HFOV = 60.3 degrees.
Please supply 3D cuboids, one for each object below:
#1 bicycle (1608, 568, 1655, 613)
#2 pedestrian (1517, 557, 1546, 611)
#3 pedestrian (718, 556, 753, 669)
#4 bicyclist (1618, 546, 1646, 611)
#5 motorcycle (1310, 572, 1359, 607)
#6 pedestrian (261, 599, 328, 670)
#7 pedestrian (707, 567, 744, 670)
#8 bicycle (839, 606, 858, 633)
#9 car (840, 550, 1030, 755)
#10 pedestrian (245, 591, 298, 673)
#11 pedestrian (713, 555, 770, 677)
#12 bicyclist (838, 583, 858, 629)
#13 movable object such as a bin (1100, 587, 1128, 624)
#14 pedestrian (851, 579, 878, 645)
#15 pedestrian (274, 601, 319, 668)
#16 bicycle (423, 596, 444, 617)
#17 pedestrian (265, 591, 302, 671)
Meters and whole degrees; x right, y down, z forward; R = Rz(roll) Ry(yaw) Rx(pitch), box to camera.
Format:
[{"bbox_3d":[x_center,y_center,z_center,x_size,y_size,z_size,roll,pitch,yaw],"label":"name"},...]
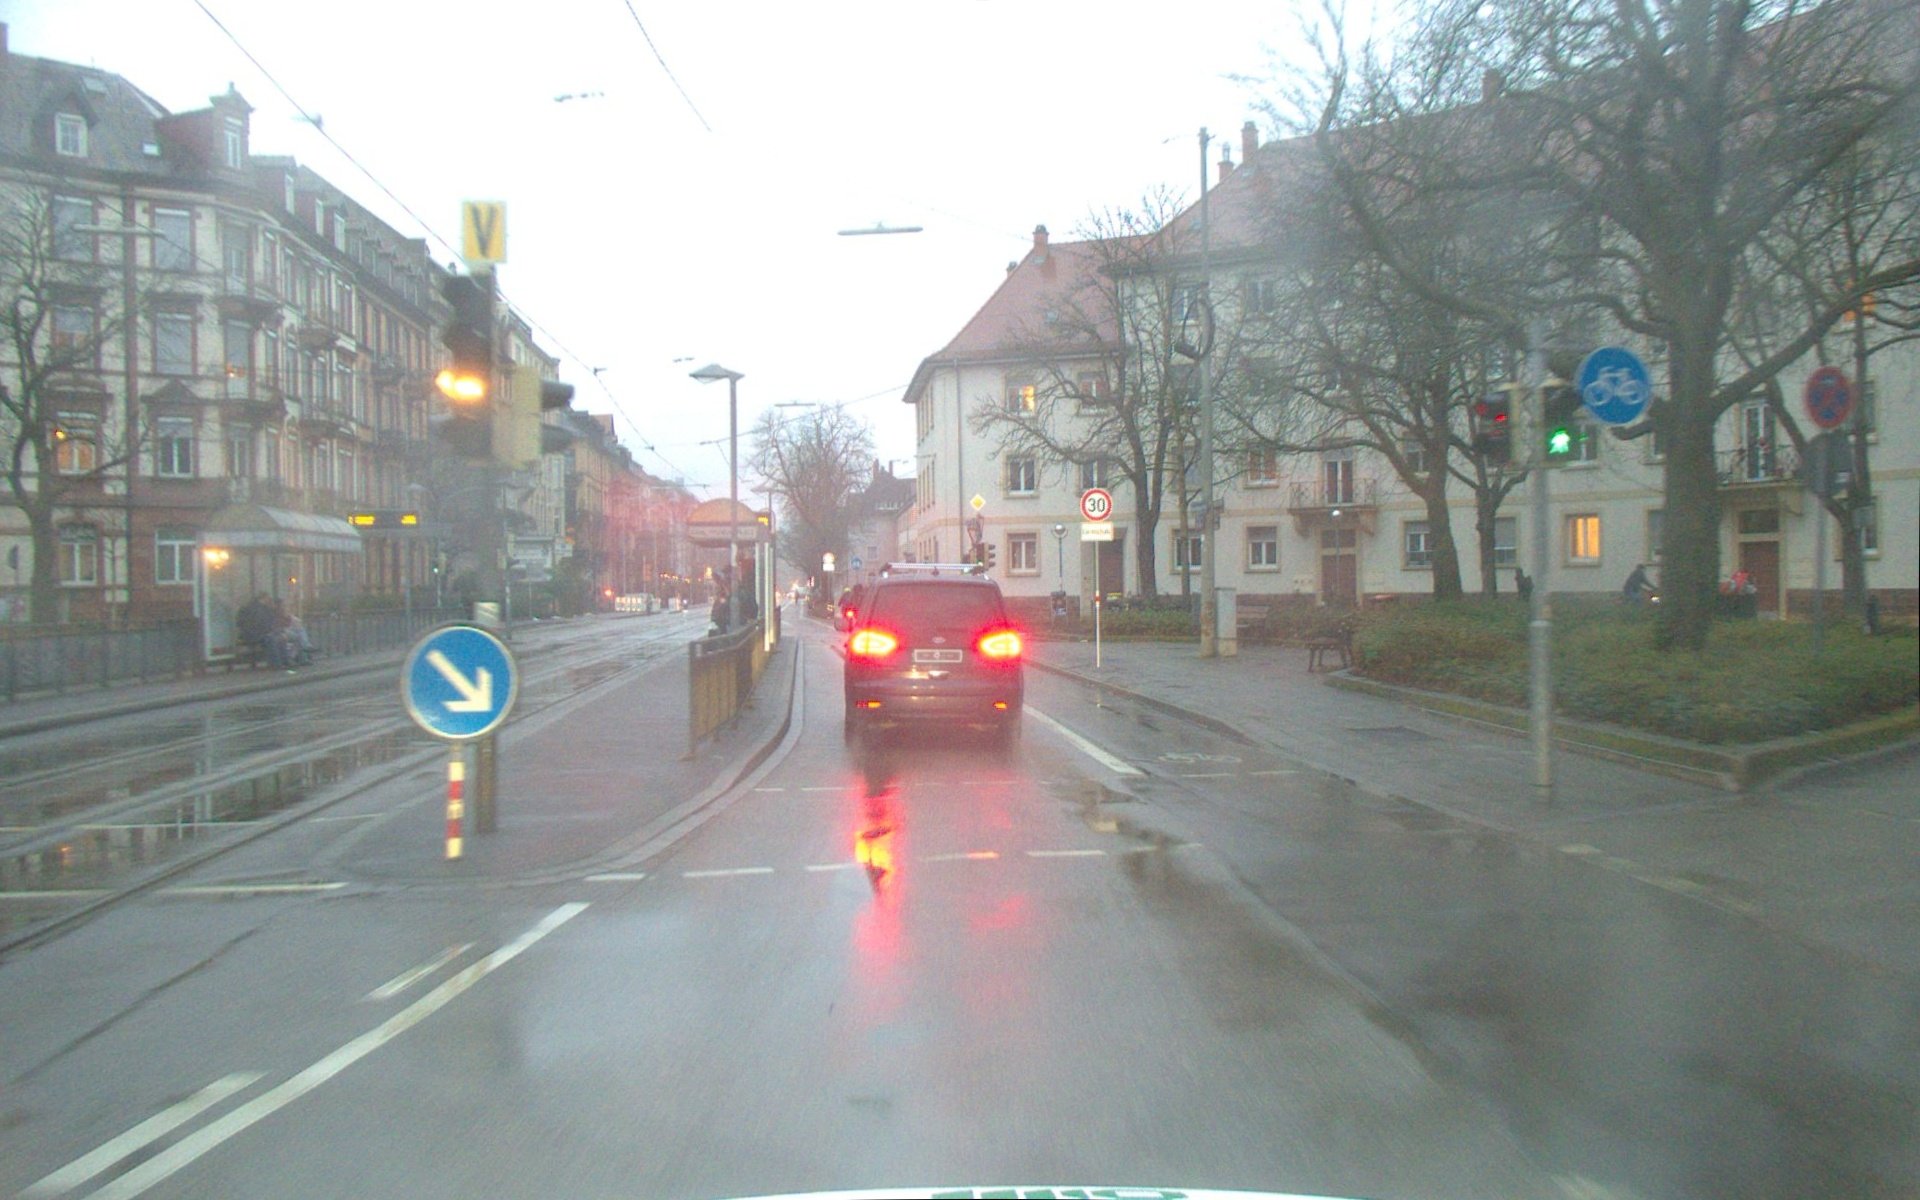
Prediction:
[{"bbox_3d":[19.937,-0.277,49.120,0.457,1.314,1.912,-1,0,-5],"label":"bicycle"},{"bbox_3d":[18.255,-0.504,52.801,0.700,1.689,0.686,-1,1,33],"label":"pedestrian"},{"bbox_3d":[-4.092,0.223,30.196,0.546,2.022,0.570,2,0,-5],"label":"pedestrian"},{"bbox_3d":[19.946,-0.636,49.097,0.457,1.919,0.679,-1,0,-5],"label":"bicyclist"},{"bbox_3d":[12.754,-0.354,56.305,0.565,1.124,1.579,-4,3,-41],"label":"motorcycle"},{"bbox_3d":[-12.506,0.642,31.097,1.035,1.276,0.506,2,0,-6],"label":"pedestrian"},{"bbox_3d":[-4.116,0.317,29.045,0.546,1.771,0.570,2,0,-5],"label":"pedestrian"},{"bbox_3d":[-4.301,0.751,63.655,0.717,1.024,1.762,0,0,-4],"label":"bicycle"},{"bbox_3d":[-0.368,0.502,17.847,1.766,1.903,4.015,2,0,-4],"label":"car"},{"bbox_3d":[-12.271,0.563,29.490,0.671,1.428,0.577,2,0,-6],"label":"pedestrian"},{"bbox_3d":[-3.645,0.258,27.646,0.837,1.990,0.570,2,0,-5],"label":"pedestrian"},{"bbox_3d":[-4.315,0.235,63.687,0.716,1.767,0.765,0,0,-5],"label":"bicyclist"},{"bbox_3d":[5.482,0.207,58.883,0.838,1.273,0.520,2,0,37],"label":"movable object such as a bin"},{"bbox_3d":[-2.886,0.353,50.038,0.702,1.951,0.687,2,0,-9],"label":"pedestrian"},{"bbox_3d":[-12.684,0.656,31.617,0.640,1.239,0.516,2,0,-6],"label":"pedestrian"},{"bbox_3d":[-22.322,0.268,70.130,0.392,0.877,1.847,0,0,-4],"label":"bicycle"},{"bbox_3d":[-12.268,0.564,30.005,0.464,1.428,0.453,2,0,-6],"label":"pedestrian"}]
